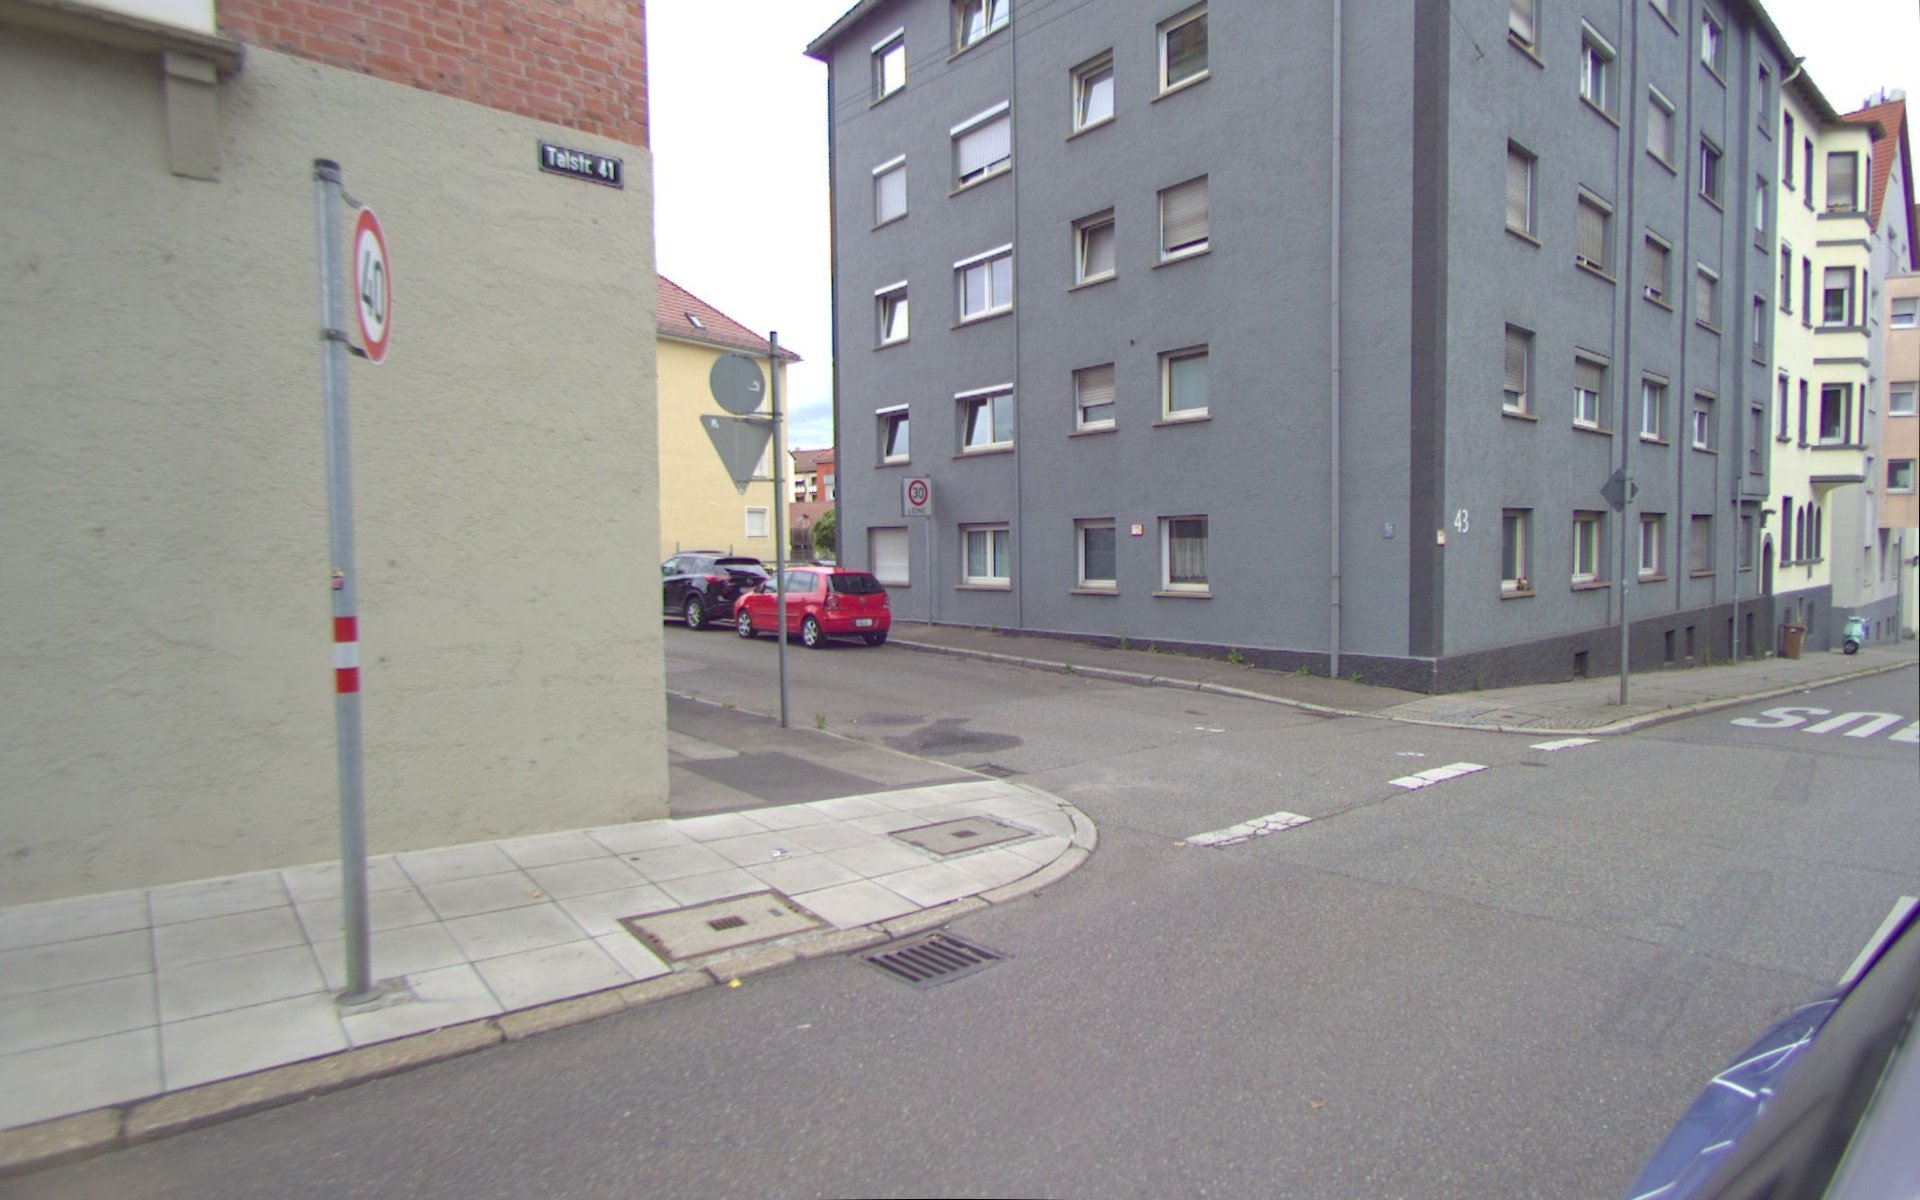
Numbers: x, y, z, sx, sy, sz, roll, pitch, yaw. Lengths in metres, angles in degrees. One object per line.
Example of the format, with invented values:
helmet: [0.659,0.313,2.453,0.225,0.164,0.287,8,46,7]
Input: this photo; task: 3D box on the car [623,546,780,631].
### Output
car: [-6.000,-0.314,23.209,1.657,1.695,4.112,0,3,-44]

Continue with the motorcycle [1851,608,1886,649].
motorcycle: [27.763,0.847,30.918,2.189,1.170,0.538,1,4,-44]

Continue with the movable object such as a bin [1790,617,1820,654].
movable object such as a bin: [22.284,0.931,26.696,0.508,0.902,0.476,1,4,-41]

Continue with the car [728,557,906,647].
car: [-2.851,-0.019,19.635,1.733,1.482,3.669,0,3,-40]
